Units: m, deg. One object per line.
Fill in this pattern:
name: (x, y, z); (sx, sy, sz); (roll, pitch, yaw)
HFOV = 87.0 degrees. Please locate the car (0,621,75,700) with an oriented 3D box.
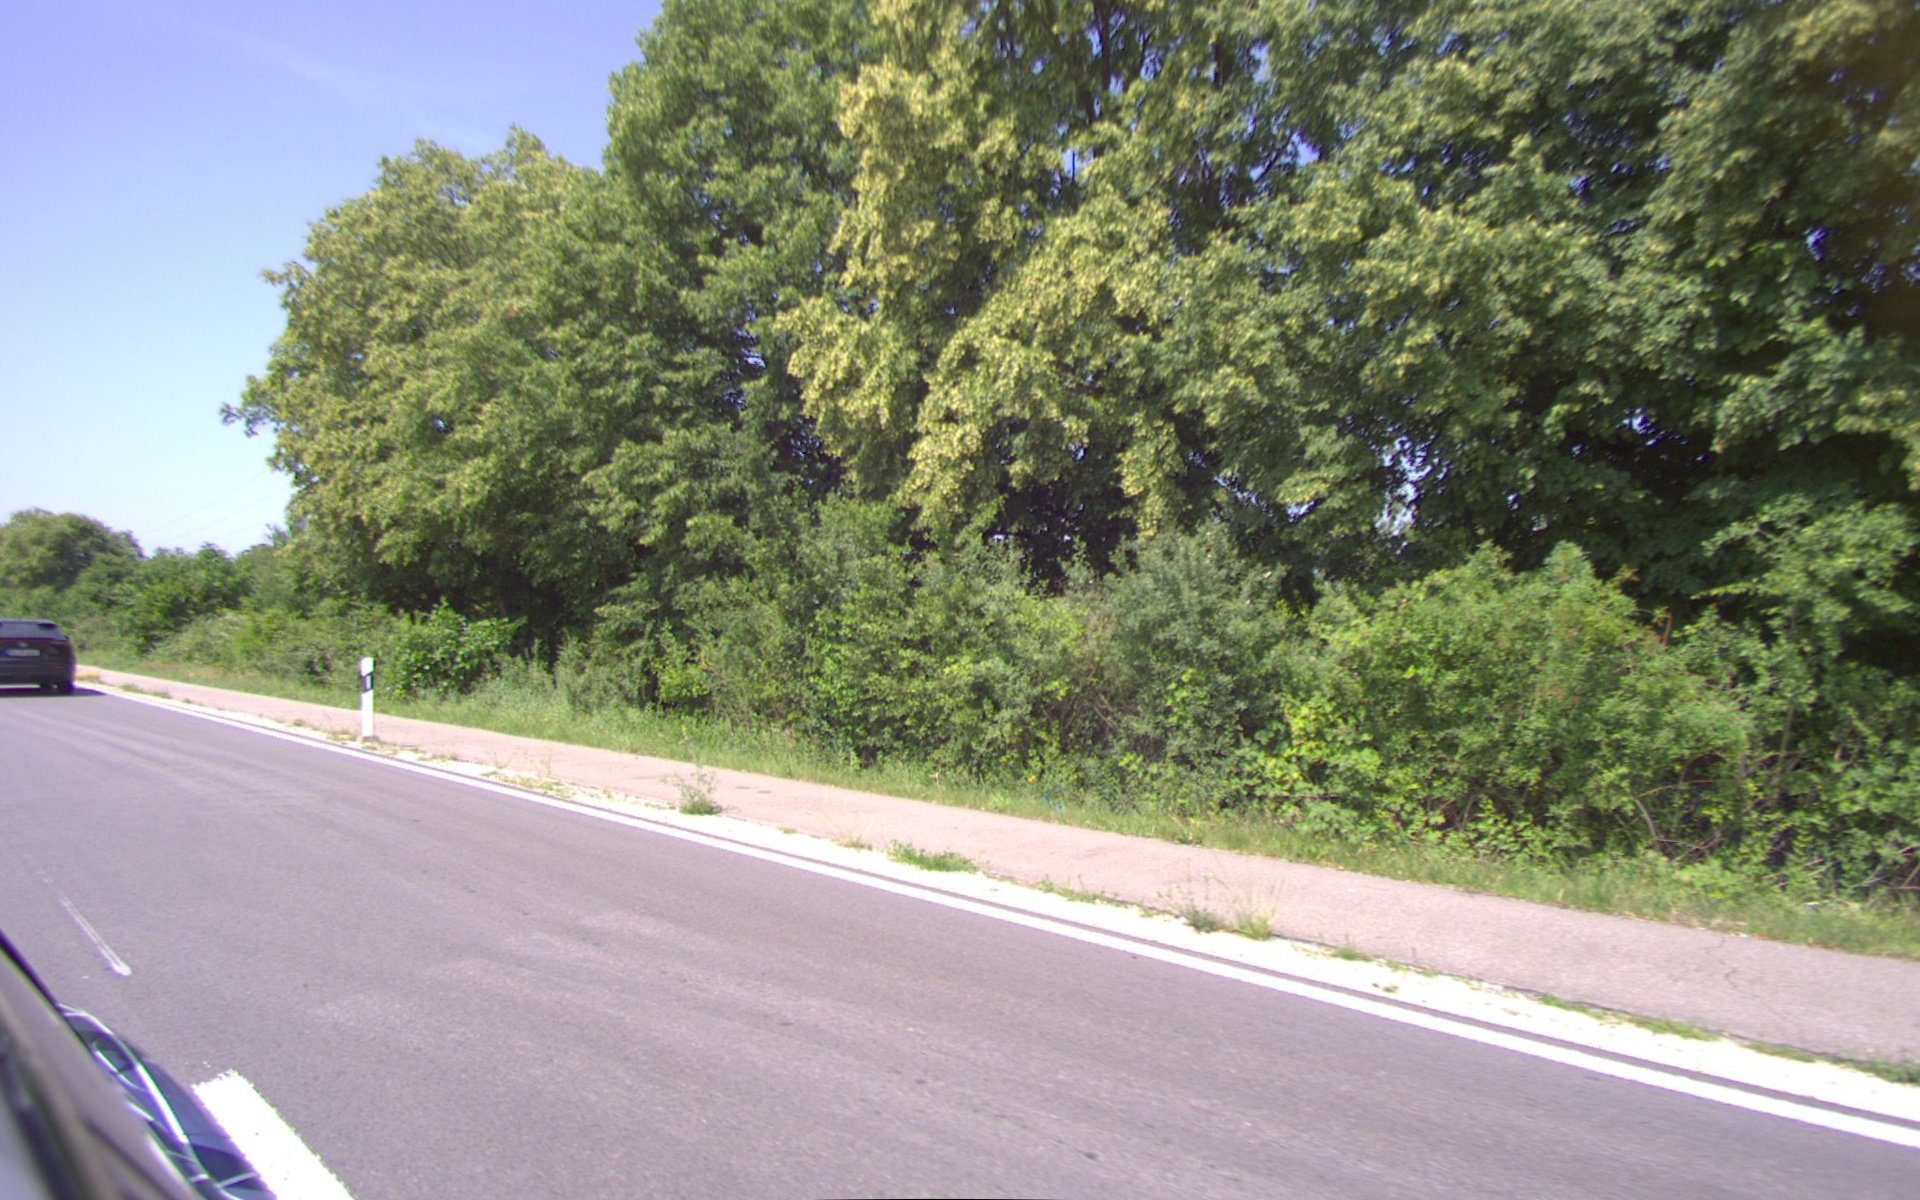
car: (-20.795, 1.271, 21.974); (4.477, 1.586, 1.773); (-2, -3, 41)
